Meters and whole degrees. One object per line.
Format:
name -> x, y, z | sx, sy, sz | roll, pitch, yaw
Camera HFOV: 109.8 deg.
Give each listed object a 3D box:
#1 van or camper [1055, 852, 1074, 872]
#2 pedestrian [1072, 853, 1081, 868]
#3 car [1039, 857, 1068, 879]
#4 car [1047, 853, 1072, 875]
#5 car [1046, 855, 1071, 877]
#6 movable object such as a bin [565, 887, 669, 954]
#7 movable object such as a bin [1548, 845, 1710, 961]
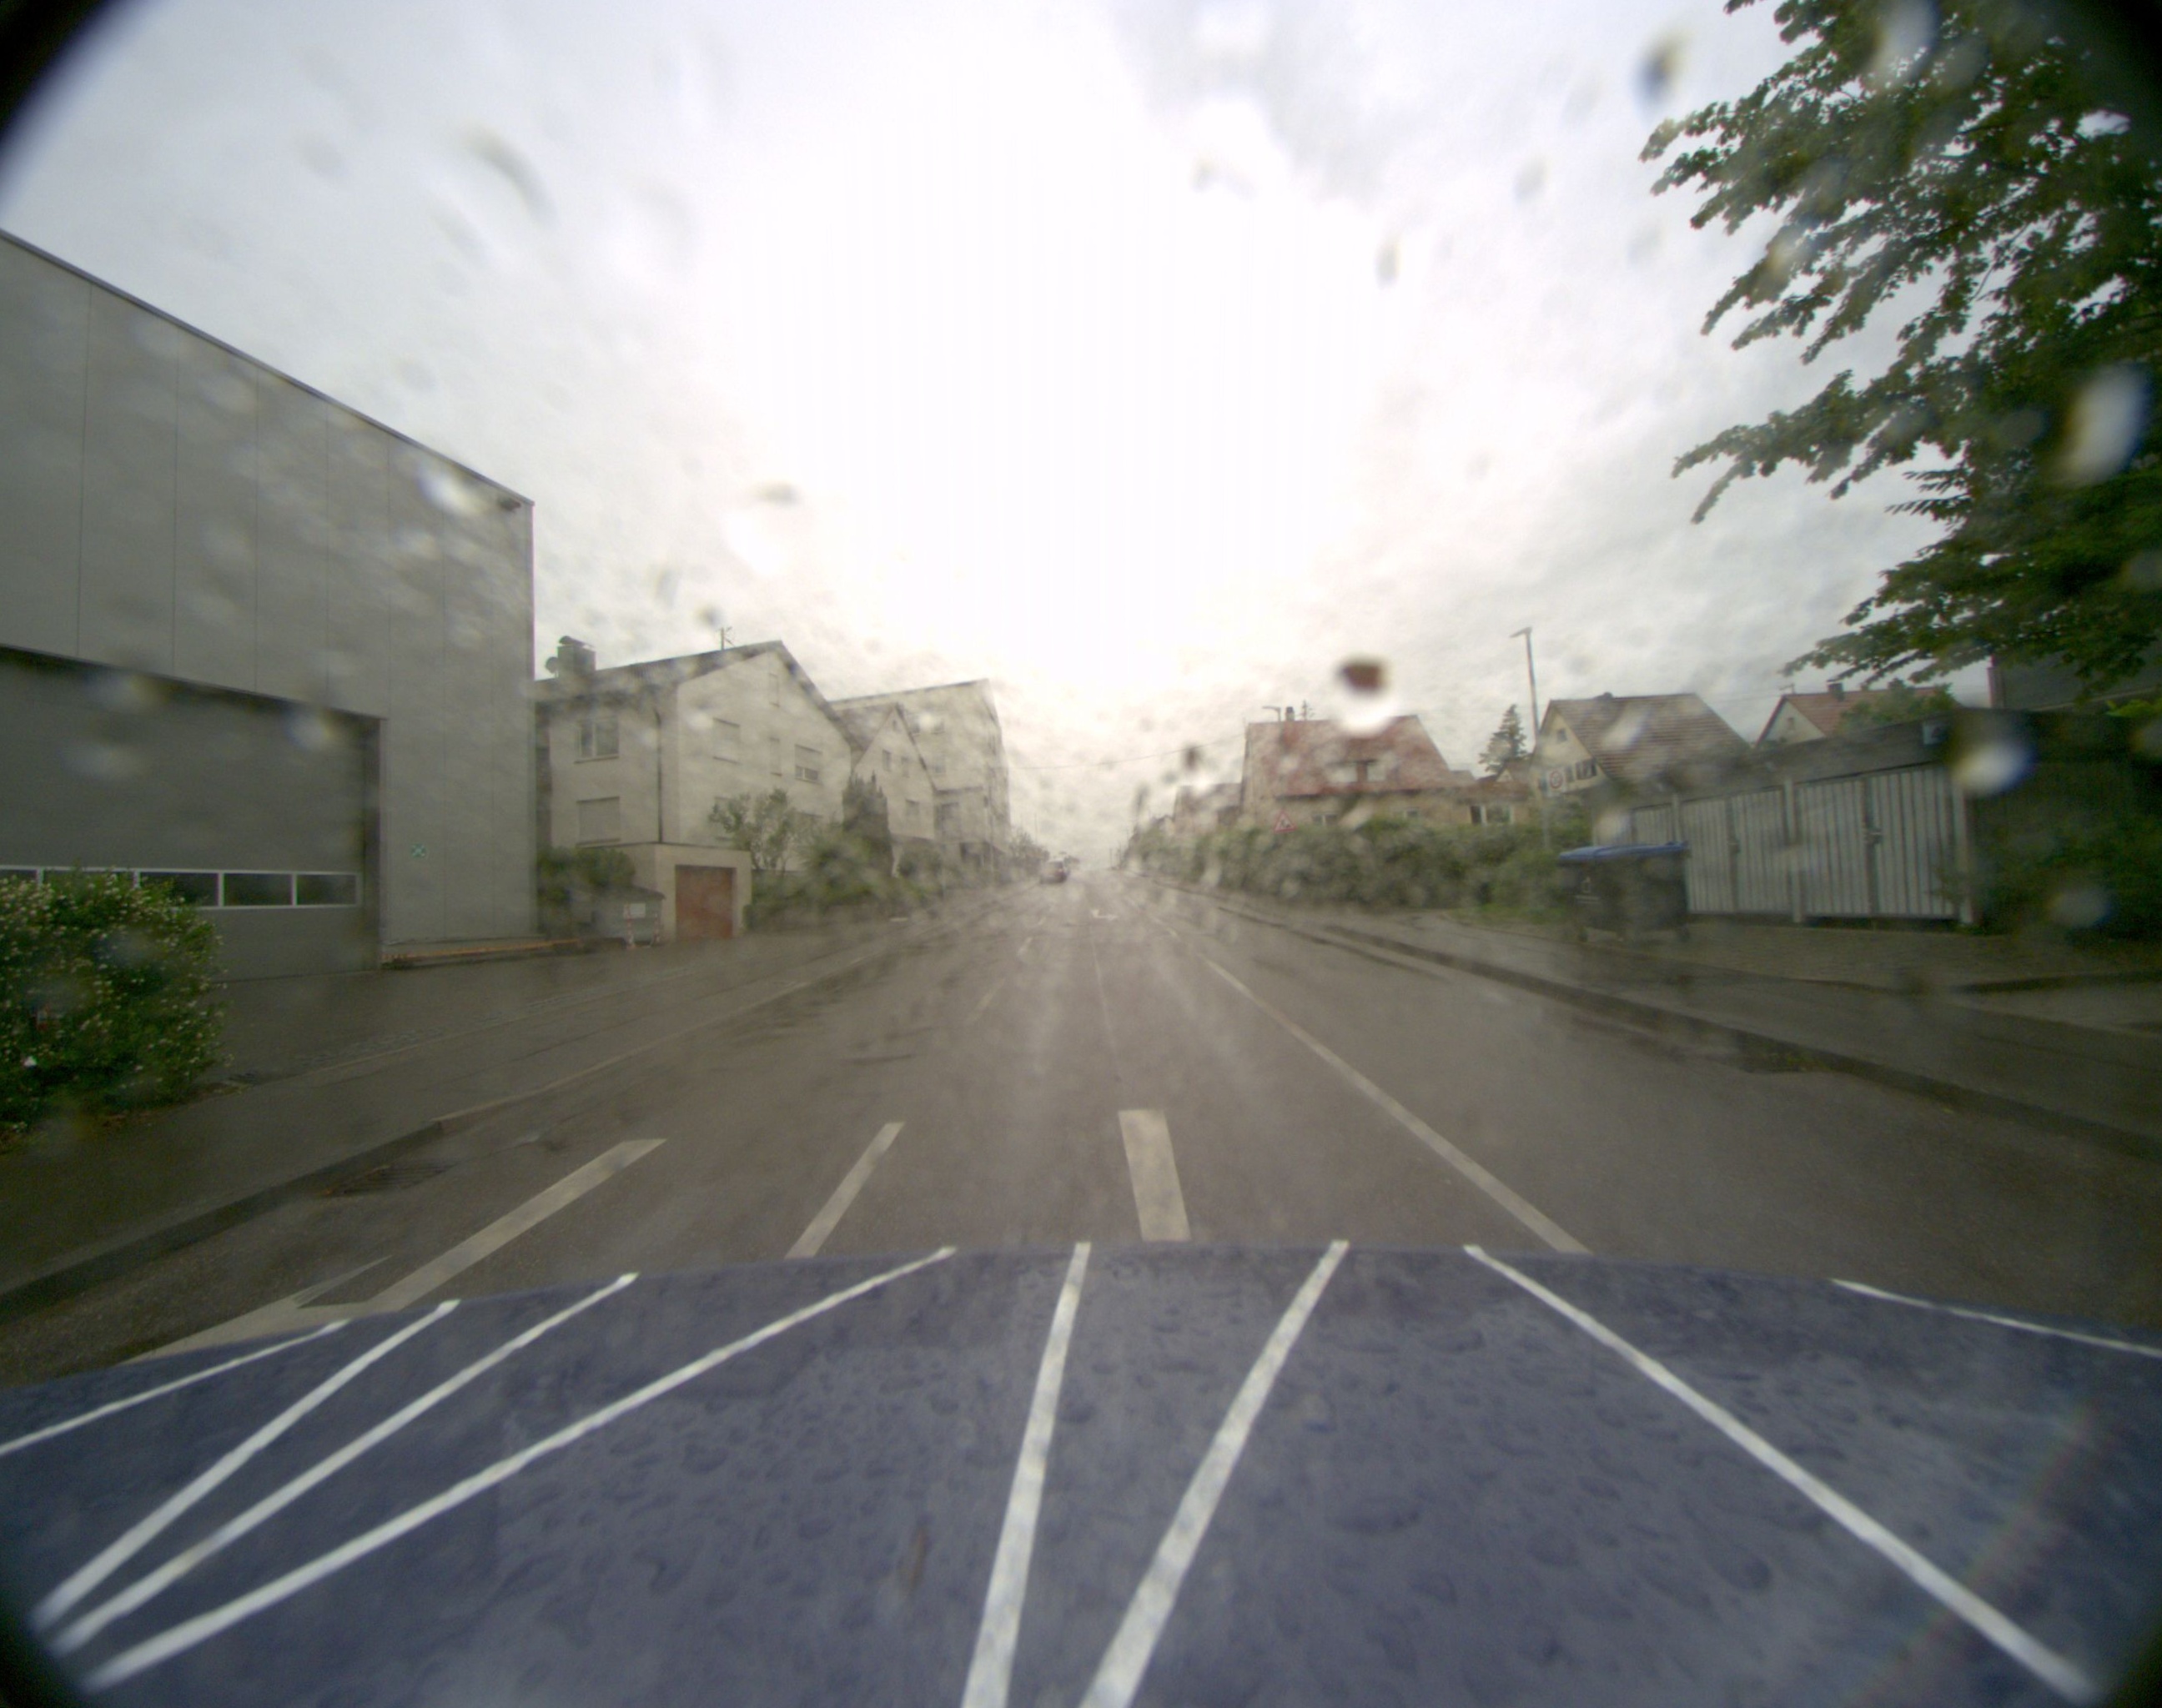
van or camper -> -1.832, 0.862, 86.122 | 1.998, 2.101, 5.203 | -2, 0, 0
pedestrian -> -0.645, 0.834, 101.656 | 1.063, 1.924, 1.091 | -3, 0, -3
car -> -2.164, 1.107, 61.286 | 1.998, 1.635, 4.958 | -3, 0, 1
car -> -1.999, 0.922, 72.291 | 1.998, 1.923, 4.976 | -3, 0, 1
car -> -1.945, 1.022, 66.512 | 1.883, 1.823, 4.489 | -3, 0, 1
movable object such as a bin -> -11.454, 1.621, 18.823 | 1.264, 1.509, 1.781 | -2, 0, 16
movable object such as a bin -> 7.153, 0.608, 10.012 | 1.074, 1.339, 1.319 | -4, 0, -1
